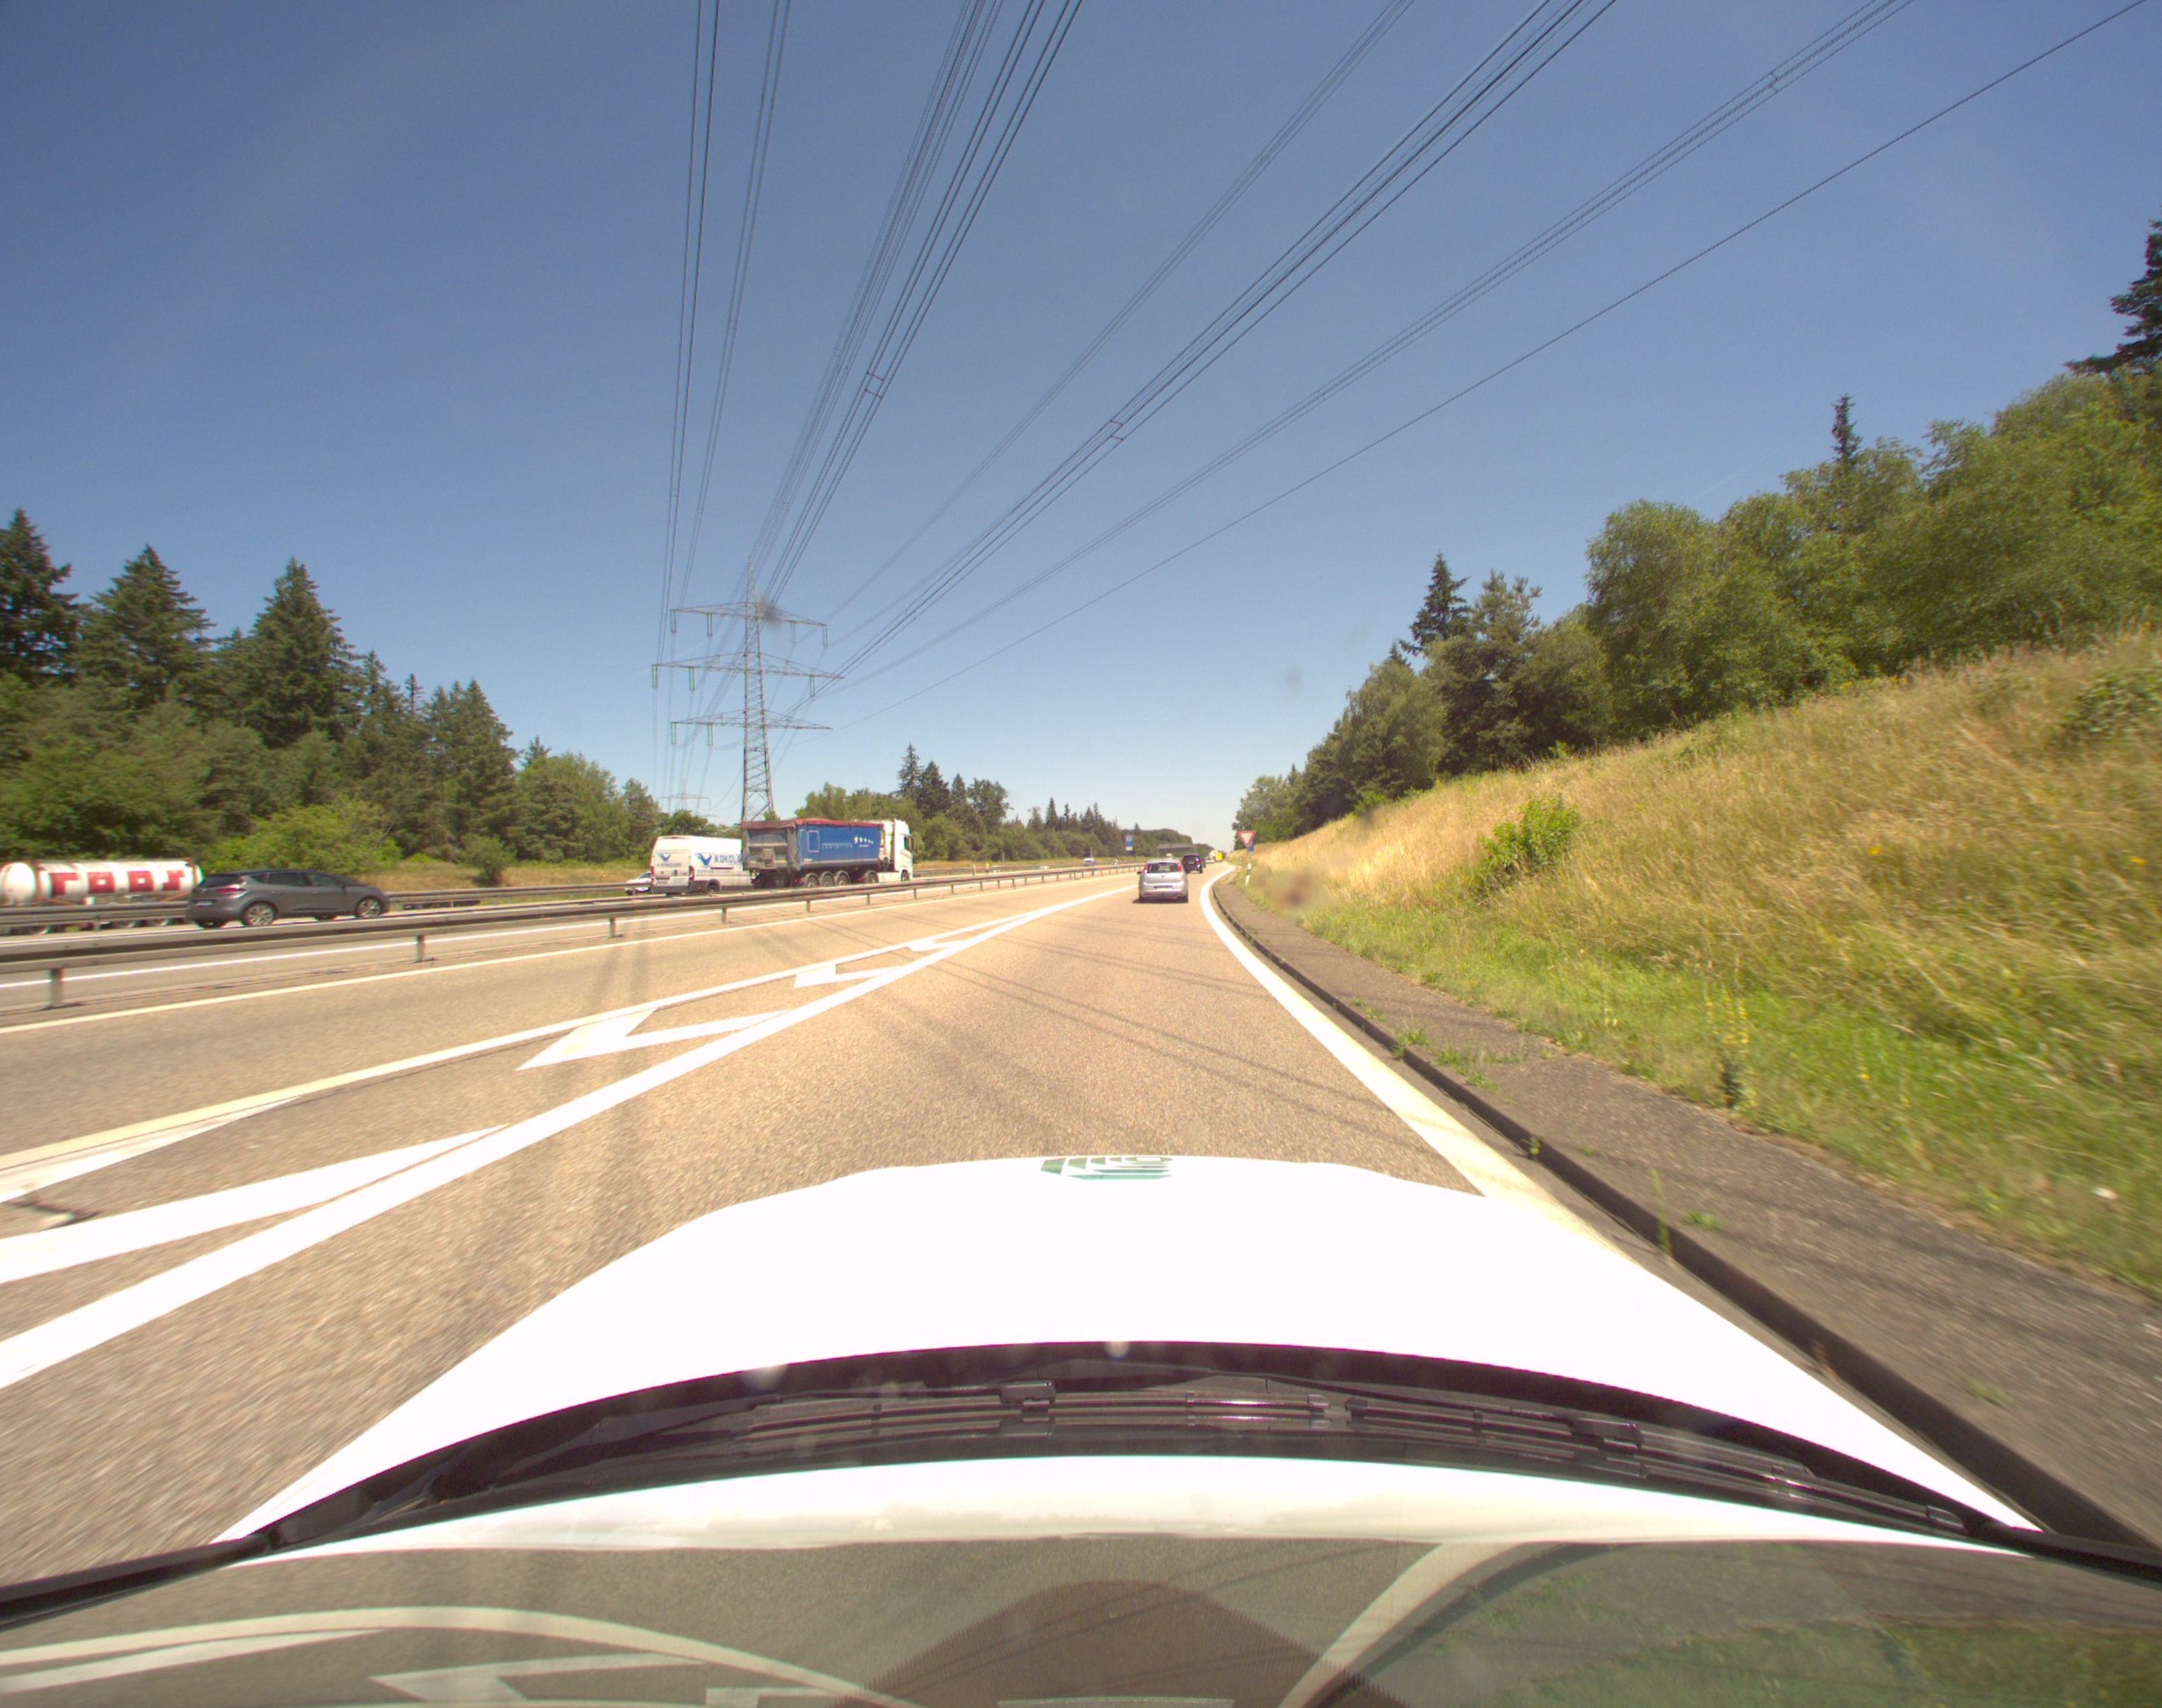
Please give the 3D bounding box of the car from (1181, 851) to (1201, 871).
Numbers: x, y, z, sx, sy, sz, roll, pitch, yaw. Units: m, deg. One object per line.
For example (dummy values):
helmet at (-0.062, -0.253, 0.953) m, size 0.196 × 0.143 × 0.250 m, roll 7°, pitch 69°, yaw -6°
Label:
car at (10.038, 0.675, 74.070) m, size 1.696 × 1.676 × 3.406 m, roll -2°, pitch -2°, yaw 9°

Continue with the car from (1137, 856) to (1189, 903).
car at (2.866, 0.845, 28.305) m, size 1.697 × 1.482 × 3.404 m, roll -1°, pitch 0°, yaw 6°

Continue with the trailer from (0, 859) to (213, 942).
trailer at (-52.610, 2.308, 43.028) m, size 2.753 × 3.798 × 8.969 m, roll -2°, pitch 0°, yaw 13°

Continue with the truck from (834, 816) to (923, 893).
truck at (-10.606, 0.032, 43.051) m, size 2.738 × 3.807 × 4.636 m, roll -2°, pitch 0°, yaw 11°

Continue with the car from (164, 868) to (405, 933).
car at (-22.898, 1.280, 23.745) m, size 1.760 × 1.684 × 4.840 m, roll -2°, pitch -2°, yaw 12°

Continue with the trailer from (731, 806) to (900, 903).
trailer at (-11.739, 0.031, 37.498) m, size 2.753 × 3.807 × 9.916 m, roll -2°, pitch -1°, yaw 11°

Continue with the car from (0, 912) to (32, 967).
car at (-35.654, 2.725, 24.359) m, size 1.902 × 1.684 × 4.840 m, roll -2°, pitch -2°, yaw 12°

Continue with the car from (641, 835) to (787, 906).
car at (-16.264, 0.751, 36.717) m, size 2.223 × 2.833 × 7.076 m, roll -2°, pitch -2°, yaw 12°
